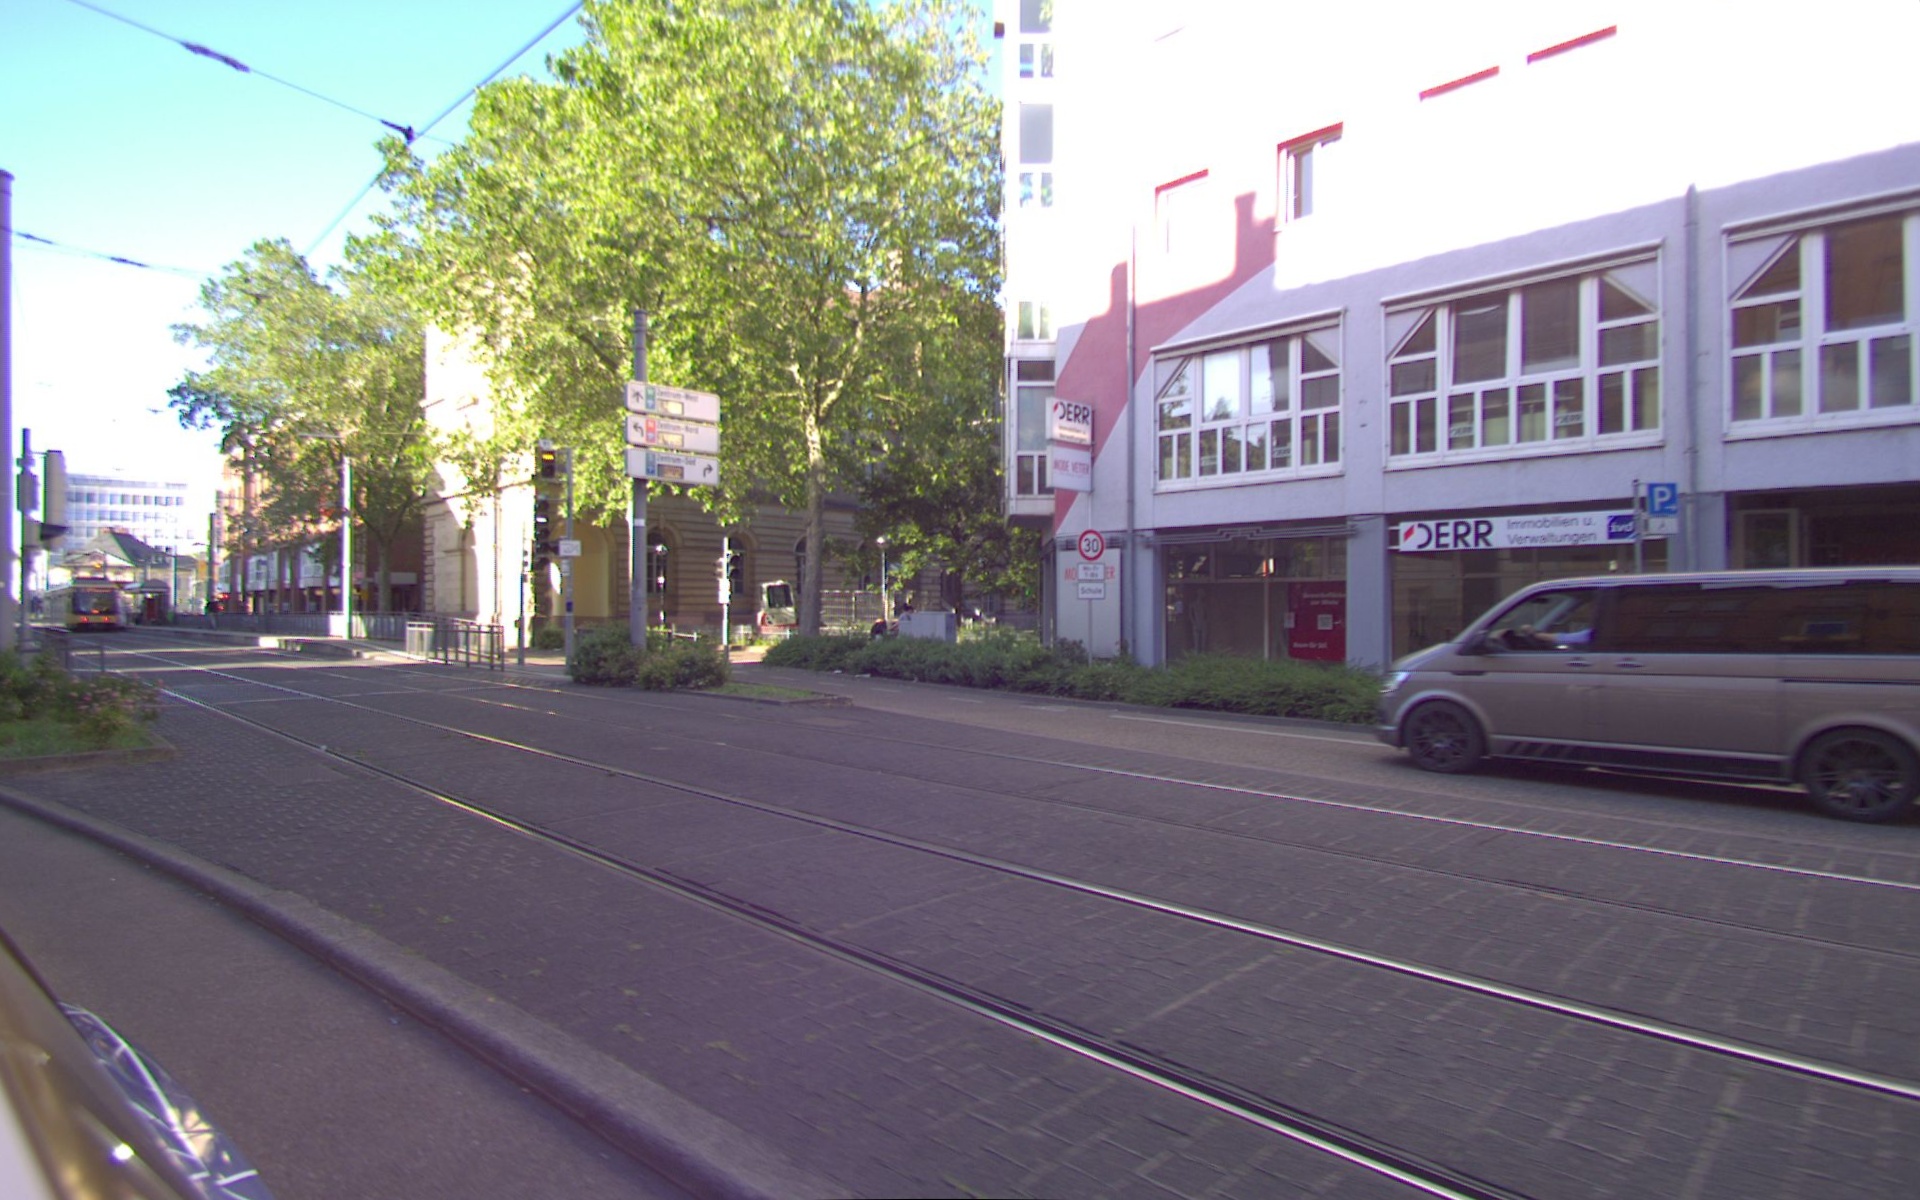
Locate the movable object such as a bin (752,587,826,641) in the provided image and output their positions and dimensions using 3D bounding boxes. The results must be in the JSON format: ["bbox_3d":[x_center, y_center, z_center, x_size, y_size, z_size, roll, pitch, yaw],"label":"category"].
[{"bbox_3d":[-6.551,0.536,38.698,2.604,2.029,1.179,0,-1,-22],"label":"movable object such as a bin"}]

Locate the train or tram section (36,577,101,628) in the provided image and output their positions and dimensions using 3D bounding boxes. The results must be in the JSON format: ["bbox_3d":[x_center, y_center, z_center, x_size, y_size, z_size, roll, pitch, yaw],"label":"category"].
[{"bbox_3d":[-69.686,0.196,78.984,2.940,3.672,13.952,-2,1,-45],"label":"train or tram section"}]

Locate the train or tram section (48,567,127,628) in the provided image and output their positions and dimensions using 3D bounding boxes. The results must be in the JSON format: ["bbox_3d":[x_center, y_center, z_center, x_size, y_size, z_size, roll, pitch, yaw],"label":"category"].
[{"bbox_3d":[-58.972,-0.031,68.204,2.940,3.672,16.495,-2,0,-44],"label":"train or tram section"}]

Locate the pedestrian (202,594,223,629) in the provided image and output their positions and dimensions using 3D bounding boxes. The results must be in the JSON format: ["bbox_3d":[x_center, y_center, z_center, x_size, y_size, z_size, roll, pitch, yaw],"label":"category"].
[{"bbox_3d":[-36.465,0.545,49.368,0.688,1.680,1.034,1,-1,-45],"label":"pedestrian"}]

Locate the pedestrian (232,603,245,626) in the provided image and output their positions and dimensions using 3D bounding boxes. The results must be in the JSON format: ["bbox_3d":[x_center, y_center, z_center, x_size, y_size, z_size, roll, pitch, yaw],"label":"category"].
[{"bbox_3d":[-59.246,1.187,83.110,0.666,1.930,0.781,-1,-1,43],"label":"pedestrian"}]

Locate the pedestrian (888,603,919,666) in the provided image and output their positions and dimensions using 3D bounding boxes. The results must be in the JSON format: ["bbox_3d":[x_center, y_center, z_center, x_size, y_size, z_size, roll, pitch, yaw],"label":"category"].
[{"bbox_3d":[-1.508,0.918,27.019,0.669,1.649,0.688,0,-1,12],"label":"pedestrian"}]

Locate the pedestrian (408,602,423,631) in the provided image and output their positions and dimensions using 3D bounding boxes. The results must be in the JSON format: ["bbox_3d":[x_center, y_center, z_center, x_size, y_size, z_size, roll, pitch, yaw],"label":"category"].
[{"bbox_3d":[-35.110,1.065,65.246,0.698,1.896,0.627,1,-1,-41],"label":"pedestrian"}]

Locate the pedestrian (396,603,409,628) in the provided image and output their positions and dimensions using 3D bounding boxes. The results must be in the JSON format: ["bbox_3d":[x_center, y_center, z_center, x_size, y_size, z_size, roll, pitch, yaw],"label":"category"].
[{"bbox_3d":[-35.715,0.990,64.846,0.576,1.541,0.474,1,-1,-44],"label":"pedestrian"}]

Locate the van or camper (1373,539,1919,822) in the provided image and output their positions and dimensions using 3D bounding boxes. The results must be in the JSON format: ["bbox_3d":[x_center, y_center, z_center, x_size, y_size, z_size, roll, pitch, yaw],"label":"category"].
[{"bbox_3d":[6.393,0.612,8.766,1.969,1.955,4.839,4,-3,-42],"label":"van or camper"}]
